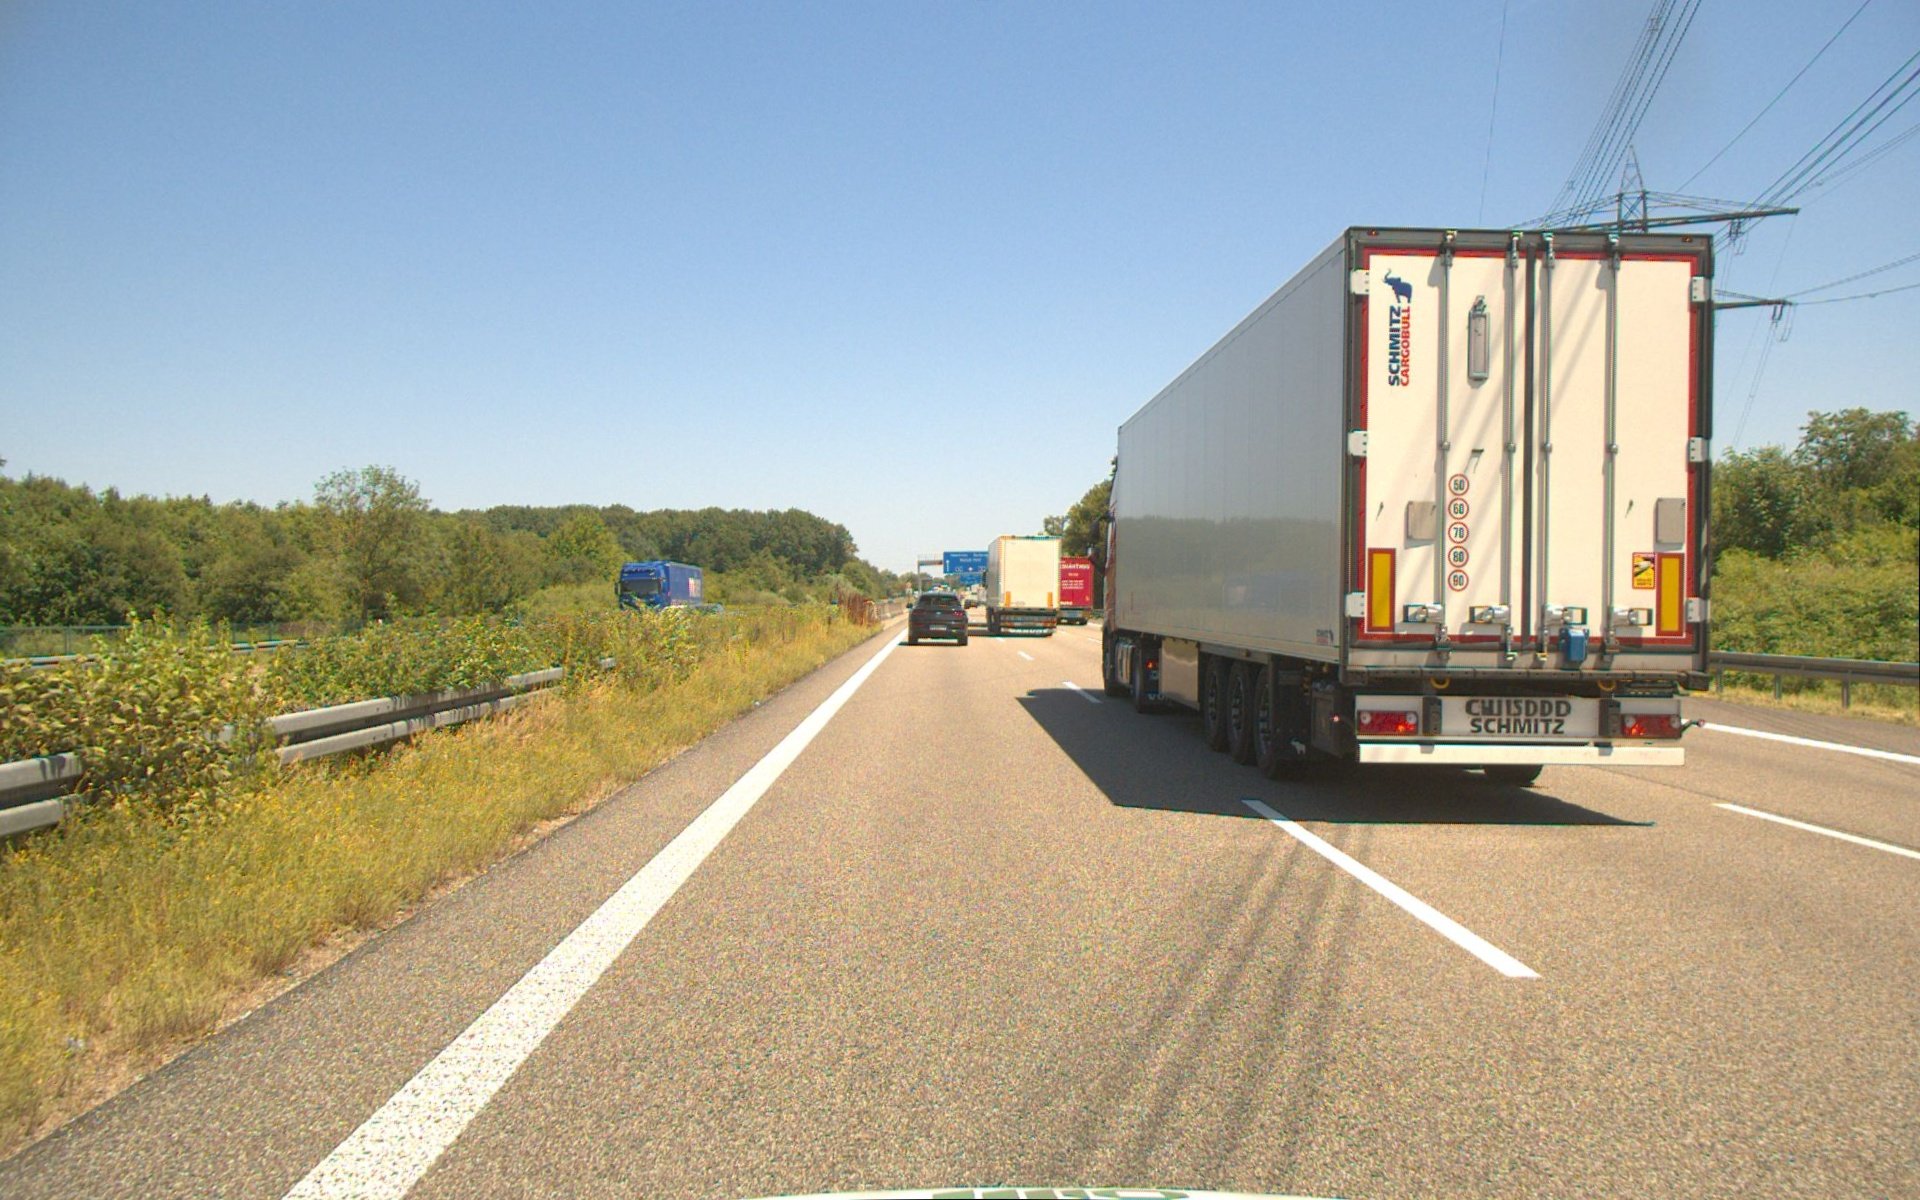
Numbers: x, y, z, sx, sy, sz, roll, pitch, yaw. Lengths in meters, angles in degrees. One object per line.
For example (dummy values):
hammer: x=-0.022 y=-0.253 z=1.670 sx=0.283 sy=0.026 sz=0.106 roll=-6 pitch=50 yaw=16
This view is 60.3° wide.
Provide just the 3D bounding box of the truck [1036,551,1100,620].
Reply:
truck: x=6.918 y=-0.872 z=107.884 sx=2.993 sy=4.178 sz=13.215 roll=1 pitch=0 yaw=-1

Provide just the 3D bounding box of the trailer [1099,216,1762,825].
trailer: x=3.888 y=-0.514 z=19.333 sx=2.878 sy=4.088 sz=16.196 roll=1 pitch=0 yaw=-1

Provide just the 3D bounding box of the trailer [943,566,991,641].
trailer: x=0.436 y=0.269 z=98.693 sx=2.652 sy=4.139 sz=14.745 roll=1 pitch=-1 yaw=0

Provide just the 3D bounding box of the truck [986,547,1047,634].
truck: x=2.697 y=-0.452 z=80.578 sx=2.742 sy=4.077 sz=6.020 roll=0 pitch=0 yaw=0

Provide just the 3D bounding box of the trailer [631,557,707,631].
trailer: x=-17.998 y=-0.356 z=103.188 sx=2.422 sy=4.203 sz=13.463 roll=-3 pitch=0 yaw=-1

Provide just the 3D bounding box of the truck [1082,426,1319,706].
truck: x=3.754 y=-0.488 z=27.293 sx=2.881 sy=4.055 sz=6.100 roll=1 pitch=0 yaw=-1

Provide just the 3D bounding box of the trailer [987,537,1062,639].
trailer: x=2.701 y=-0.476 z=73.080 sx=2.738 sy=4.106 sz=12.566 roll=0 pitch=0 yaw=0

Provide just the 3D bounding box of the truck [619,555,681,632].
truck: x=-17.846 y=-0.376 z=95.541 sx=2.417 sy=4.205 sz=5.683 roll=-3 pitch=0 yaw=-1

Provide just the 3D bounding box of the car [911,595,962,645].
car: x=-0.773 y=0.631 z=54.871 sx=1.626 sy=1.576 sz=3.782 roll=0 pitch=0 yaw=-1
